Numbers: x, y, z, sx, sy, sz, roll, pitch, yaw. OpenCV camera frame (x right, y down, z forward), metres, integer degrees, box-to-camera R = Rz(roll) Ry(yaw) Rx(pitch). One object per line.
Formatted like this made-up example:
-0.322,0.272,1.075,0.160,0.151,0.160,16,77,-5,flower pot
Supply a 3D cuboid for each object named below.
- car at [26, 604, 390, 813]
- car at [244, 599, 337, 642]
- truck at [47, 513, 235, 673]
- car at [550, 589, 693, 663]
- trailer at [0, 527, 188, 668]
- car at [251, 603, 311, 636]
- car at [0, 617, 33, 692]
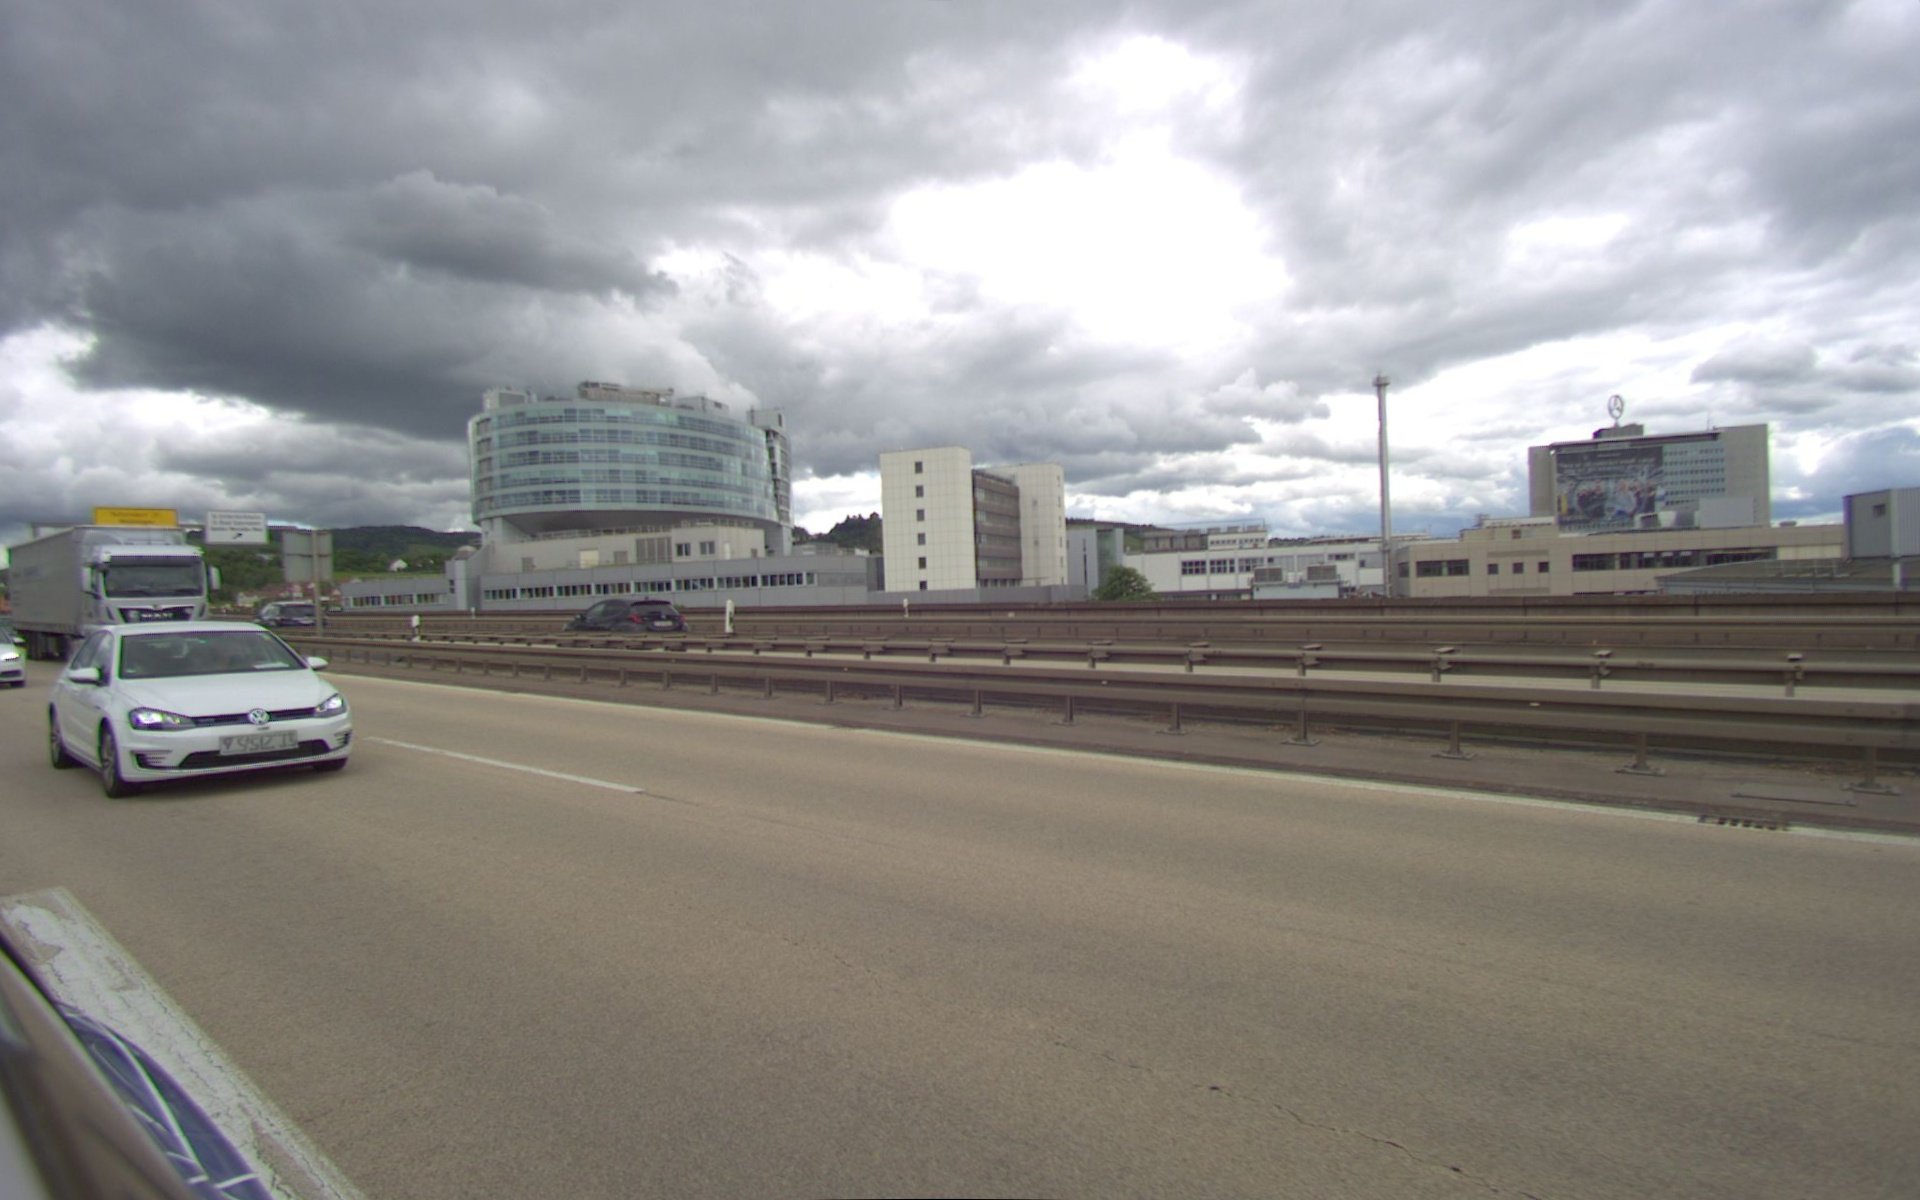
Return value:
-7.303,0.848,9.692,4.058,1.519,1.906,-1,1,40,car
-27.236,0.813,41.129,4.605,1.606,1.906,-1,1,40,car
-23.438,-0.201,28.874,5.685,4.067,3.102,-1,1,41,truck
-8.544,0.624,25.429,3.773,1.662,1.666,-1,1,40,car
-29.594,-0.041,34.227,11.759,4.056,3.149,-1,1,41,trailer
-36.773,1.032,54.787,3.773,1.662,1.666,-1,1,40,car
-21.752,1.182,21.960,4.058,1.519,1.906,-1,1,40,car
